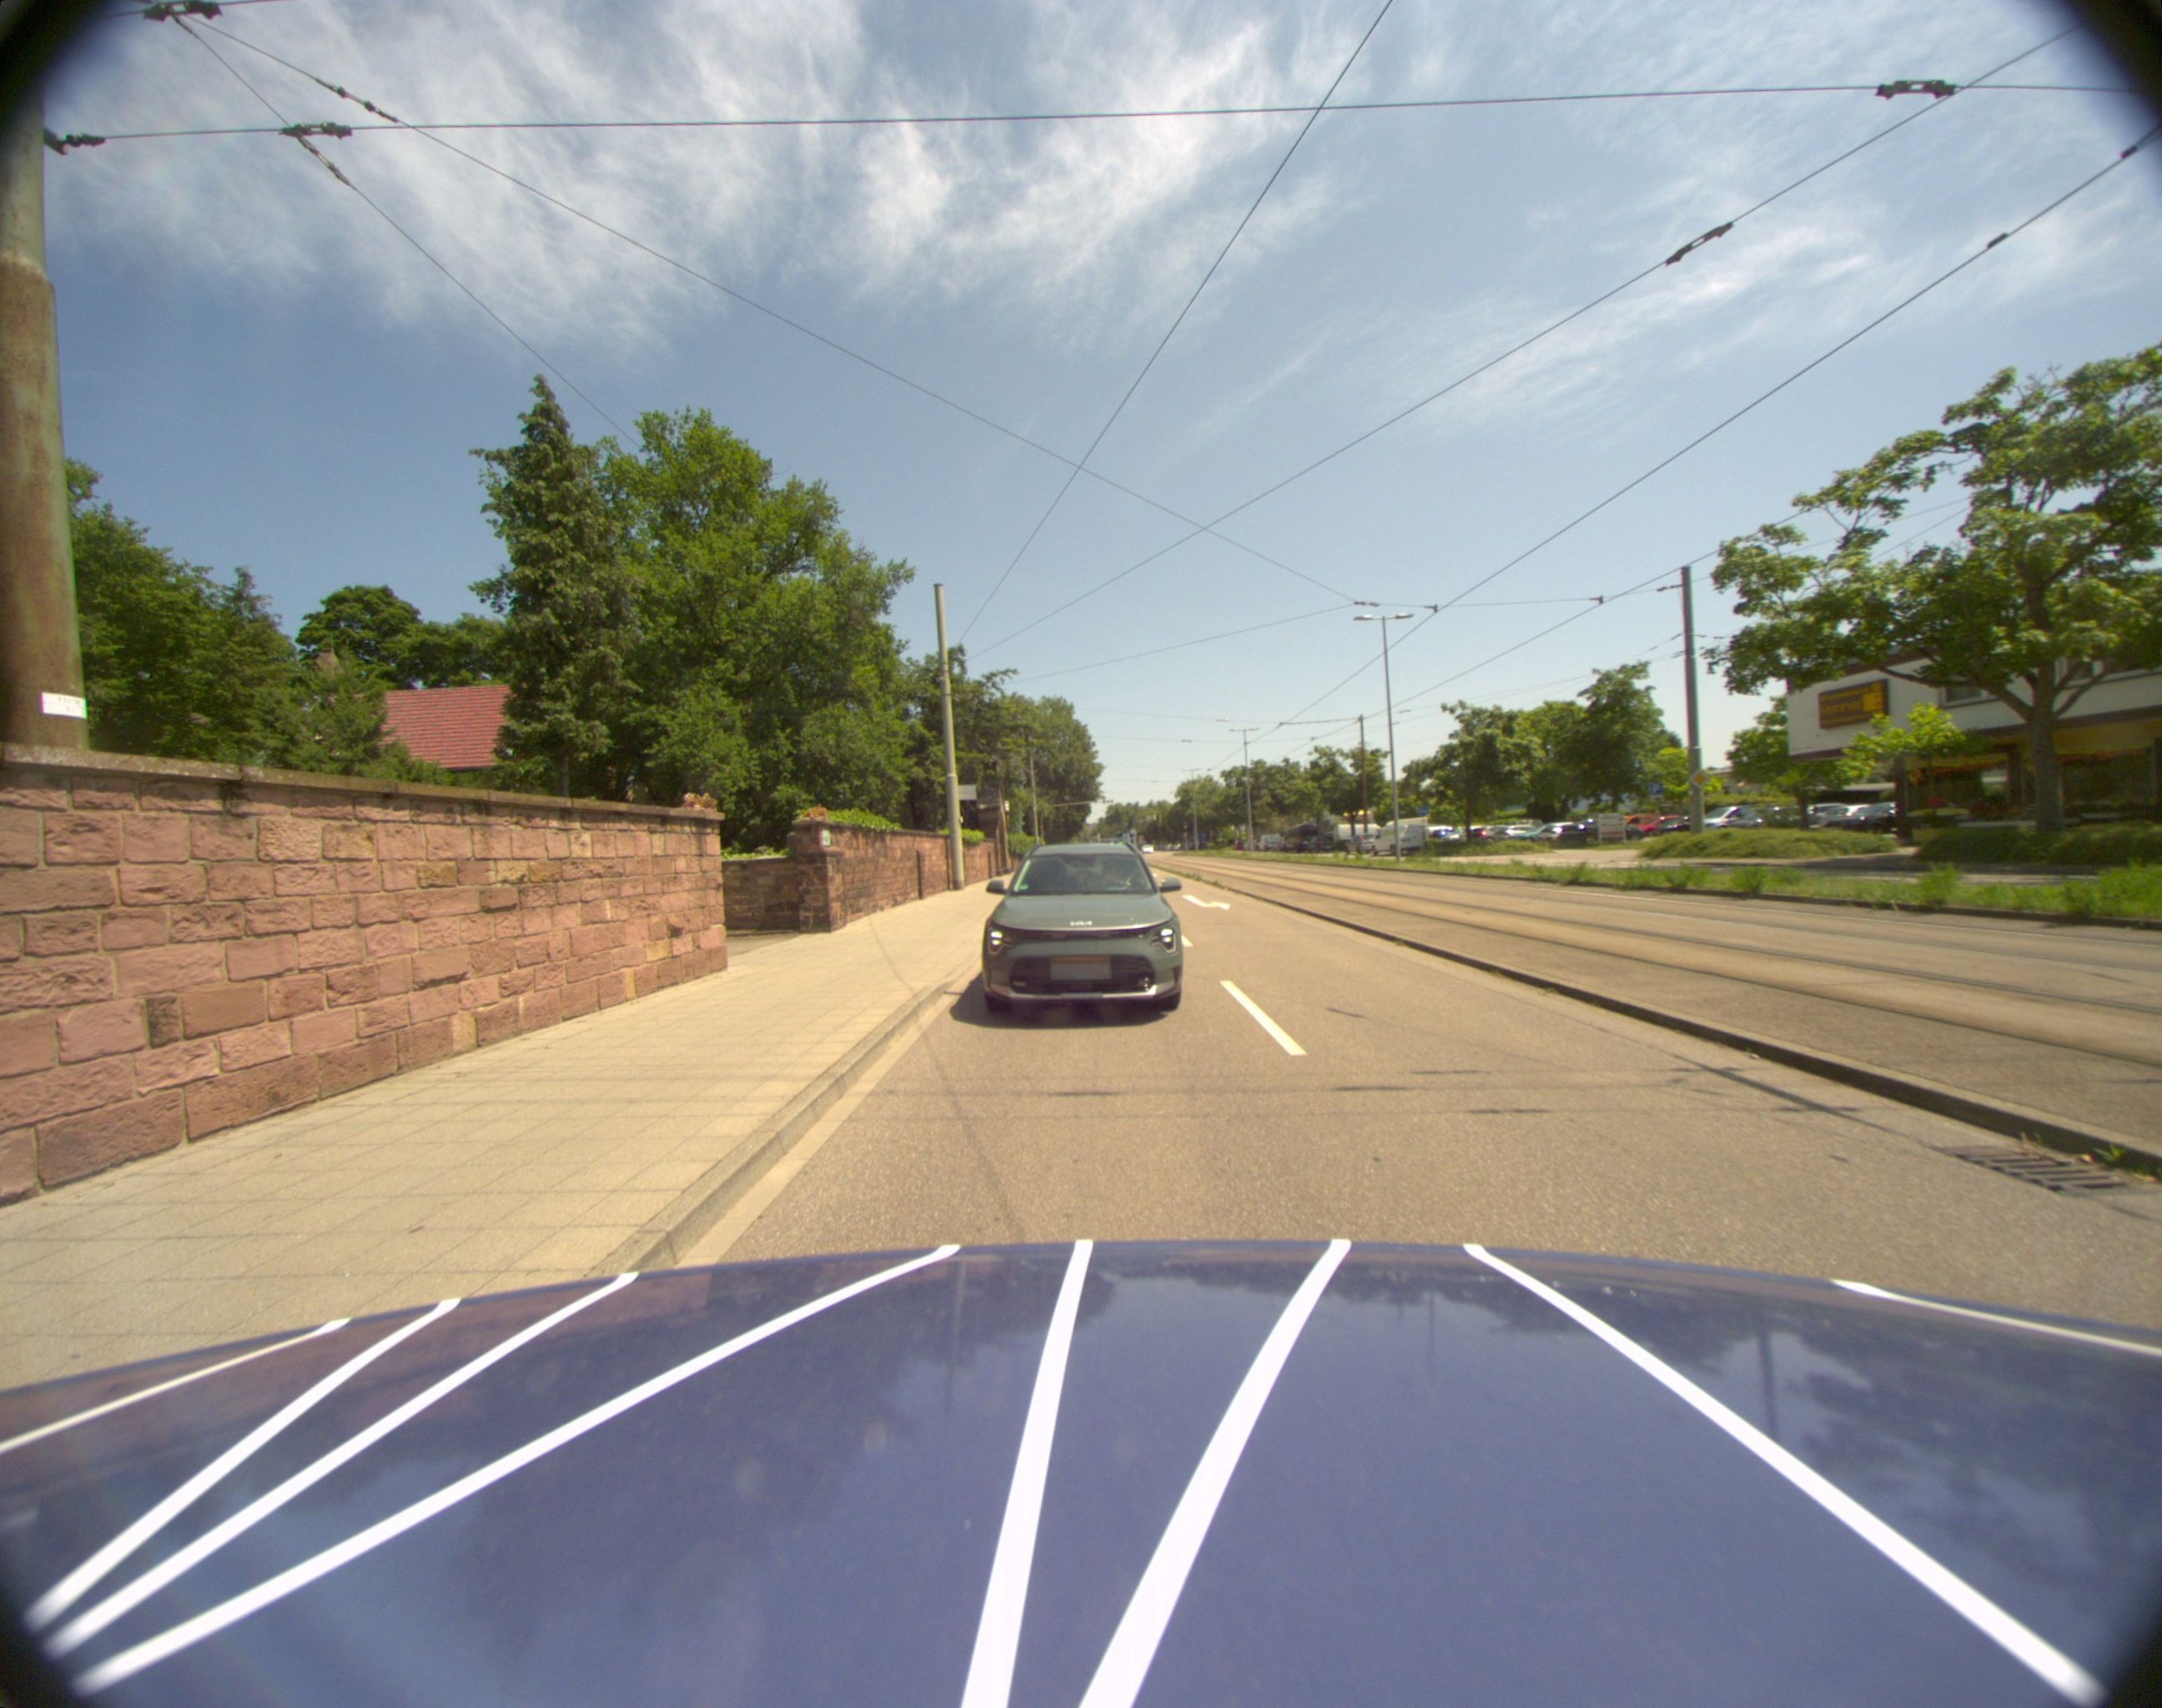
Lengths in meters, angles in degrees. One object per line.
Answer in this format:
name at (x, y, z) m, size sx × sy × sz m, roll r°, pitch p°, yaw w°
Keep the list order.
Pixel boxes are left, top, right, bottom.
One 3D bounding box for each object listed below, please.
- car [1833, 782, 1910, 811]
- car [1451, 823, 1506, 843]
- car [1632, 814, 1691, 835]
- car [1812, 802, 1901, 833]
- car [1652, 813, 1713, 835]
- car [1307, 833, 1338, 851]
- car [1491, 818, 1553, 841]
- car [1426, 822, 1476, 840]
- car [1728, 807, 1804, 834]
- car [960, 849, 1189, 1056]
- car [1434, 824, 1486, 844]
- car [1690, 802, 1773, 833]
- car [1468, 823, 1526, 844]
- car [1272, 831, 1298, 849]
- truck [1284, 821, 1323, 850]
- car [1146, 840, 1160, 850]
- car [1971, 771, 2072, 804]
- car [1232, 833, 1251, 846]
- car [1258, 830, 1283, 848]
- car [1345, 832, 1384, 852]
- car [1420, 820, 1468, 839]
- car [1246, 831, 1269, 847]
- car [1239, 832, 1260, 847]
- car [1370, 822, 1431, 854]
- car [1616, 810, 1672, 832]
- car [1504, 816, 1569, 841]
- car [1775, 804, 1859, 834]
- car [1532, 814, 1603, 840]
car at (63.502, -4.595, 61.096) m, size 3.996 × 2.002 × 2.000 m, roll -3°, pitch 1°, yaw 3°
car at (31.145, -1.627, 59.600) m, size 3.414 × 1.386 × 1.602 m, roll -3°, pitch 1°, yaw -4°
car at (44.859, -2.257, 58.740) m, size 3.355 × 1.450 × 1.506 m, roll -3°, pitch 1°, yaw -2°
car at (44.233, -2.045, 43.380) m, size 3.492 × 1.528 × 1.624 m, roll -3°, pitch 1°, yaw -2°
car at (44.468, -2.198, 56.208) m, size 3.355 × 1.381 × 1.506 m, roll -3°, pitch 1°, yaw -2°
car at (20.901, -1.031, 65.918) m, size 1.674 × 1.379 × 3.669 m, roll -3°, pitch 1°, yaw 3°
car at (31.245, -1.727, 53.880) m, size 3.414 × 1.386 × 1.602 m, roll -3°, pitch 1°, yaw -4°
car at (31.474, -1.948, 64.648) m, size 3.414 × 1.386 × 1.602 m, roll -3°, pitch 1°, yaw -4°
car at (43.793, -2.132, 48.604) m, size 3.492 × 1.528 × 1.534 m, roll -3°, pitch 1°, yaw -2°
car at (-0.004, 0.781, 8.184) m, size 1.789 × 1.561 × 4.183 m, roll -2°, pitch 1°, yaw 1°
car at (30.915, -1.635, 62.010) m, size 3.414 × 1.386 × 1.602 m, roll -3°, pitch 1°, yaw -4°
car at (43.563, -2.412, 50.932) m, size 3.998 × 1.774 × 1.813 m, roll -3°, pitch 1°, yaw -2°
car at (30.713, -1.509, 56.152) m, size 3.414 × 1.386 × 1.602 m, roll -3°, pitch 1°, yaw -4°
car at (21.579, -1.459, 80.529) m, size 1.681 × 1.783 × 3.868 m, roll -3°, pitch 1°, yaw 0°
truck at (21.044, -1.745, 71.970) m, size 2.225 × 2.527 × 4.928 m, roll -3°, pitch 1°, yaw 1°
car at (12.586, -1.600, 133.455) m, size 1.998 × 1.652 × 3.999 m, roll -3°, pitch 1°, yaw 1°
car at (61.478, -4.314, 49.725) m, size 3.996 × 1.762 × 2.000 m, roll -3°, pitch 1°, yaw 3°
car at (21.702, -1.942, 103.108) m, size 1.681 × 1.693 × 3.823 m, roll -3°, pitch 1°, yaw 0°
car at (21.393, -1.686, 85.914) m, size 1.681 × 1.963 × 4.509 m, roll -3°, pitch 1°, yaw 0°
car at (20.802, -0.877, 55.846) m, size 1.674 × 1.379 × 3.568 m, roll -3°, pitch 1°, yaw 3°
car at (32.079, -2.162, 67.213) m, size 3.414 × 1.497 × 1.602 m, roll -3°, pitch 1°, yaw -4°
car at (21.342, -1.772, 91.893) m, size 1.681 × 1.783 × 4.202 m, roll -3°, pitch 1°, yaw 0°
car at (21.366, -1.833, 96.295) m, size 1.681 × 1.783 × 4.202 m, roll -3°, pitch 1°, yaw 0°
car at (20.751, -1.021, 49.519) m, size 1.998 × 1.872 × 4.661 m, roll -3°, pitch 1°, yaw 1°
car at (45.345, -2.653, 61.201) m, size 3.355 × 1.552 × 1.506 m, roll -3°, pitch 1°, yaw -2°
car at (30.786, -1.723, 51.416) m, size 3.414 × 1.482 × 1.598 m, roll -3°, pitch 1°, yaw -4°
car at (44.221, -2.088, 45.698) m, size 3.492 × 1.528 × 1.624 m, roll -3°, pitch 1°, yaw -2°
car at (31.285, -1.709, 48.909) m, size 3.414 × 1.482 × 1.793 m, roll -3°, pitch 1°, yaw -4°
